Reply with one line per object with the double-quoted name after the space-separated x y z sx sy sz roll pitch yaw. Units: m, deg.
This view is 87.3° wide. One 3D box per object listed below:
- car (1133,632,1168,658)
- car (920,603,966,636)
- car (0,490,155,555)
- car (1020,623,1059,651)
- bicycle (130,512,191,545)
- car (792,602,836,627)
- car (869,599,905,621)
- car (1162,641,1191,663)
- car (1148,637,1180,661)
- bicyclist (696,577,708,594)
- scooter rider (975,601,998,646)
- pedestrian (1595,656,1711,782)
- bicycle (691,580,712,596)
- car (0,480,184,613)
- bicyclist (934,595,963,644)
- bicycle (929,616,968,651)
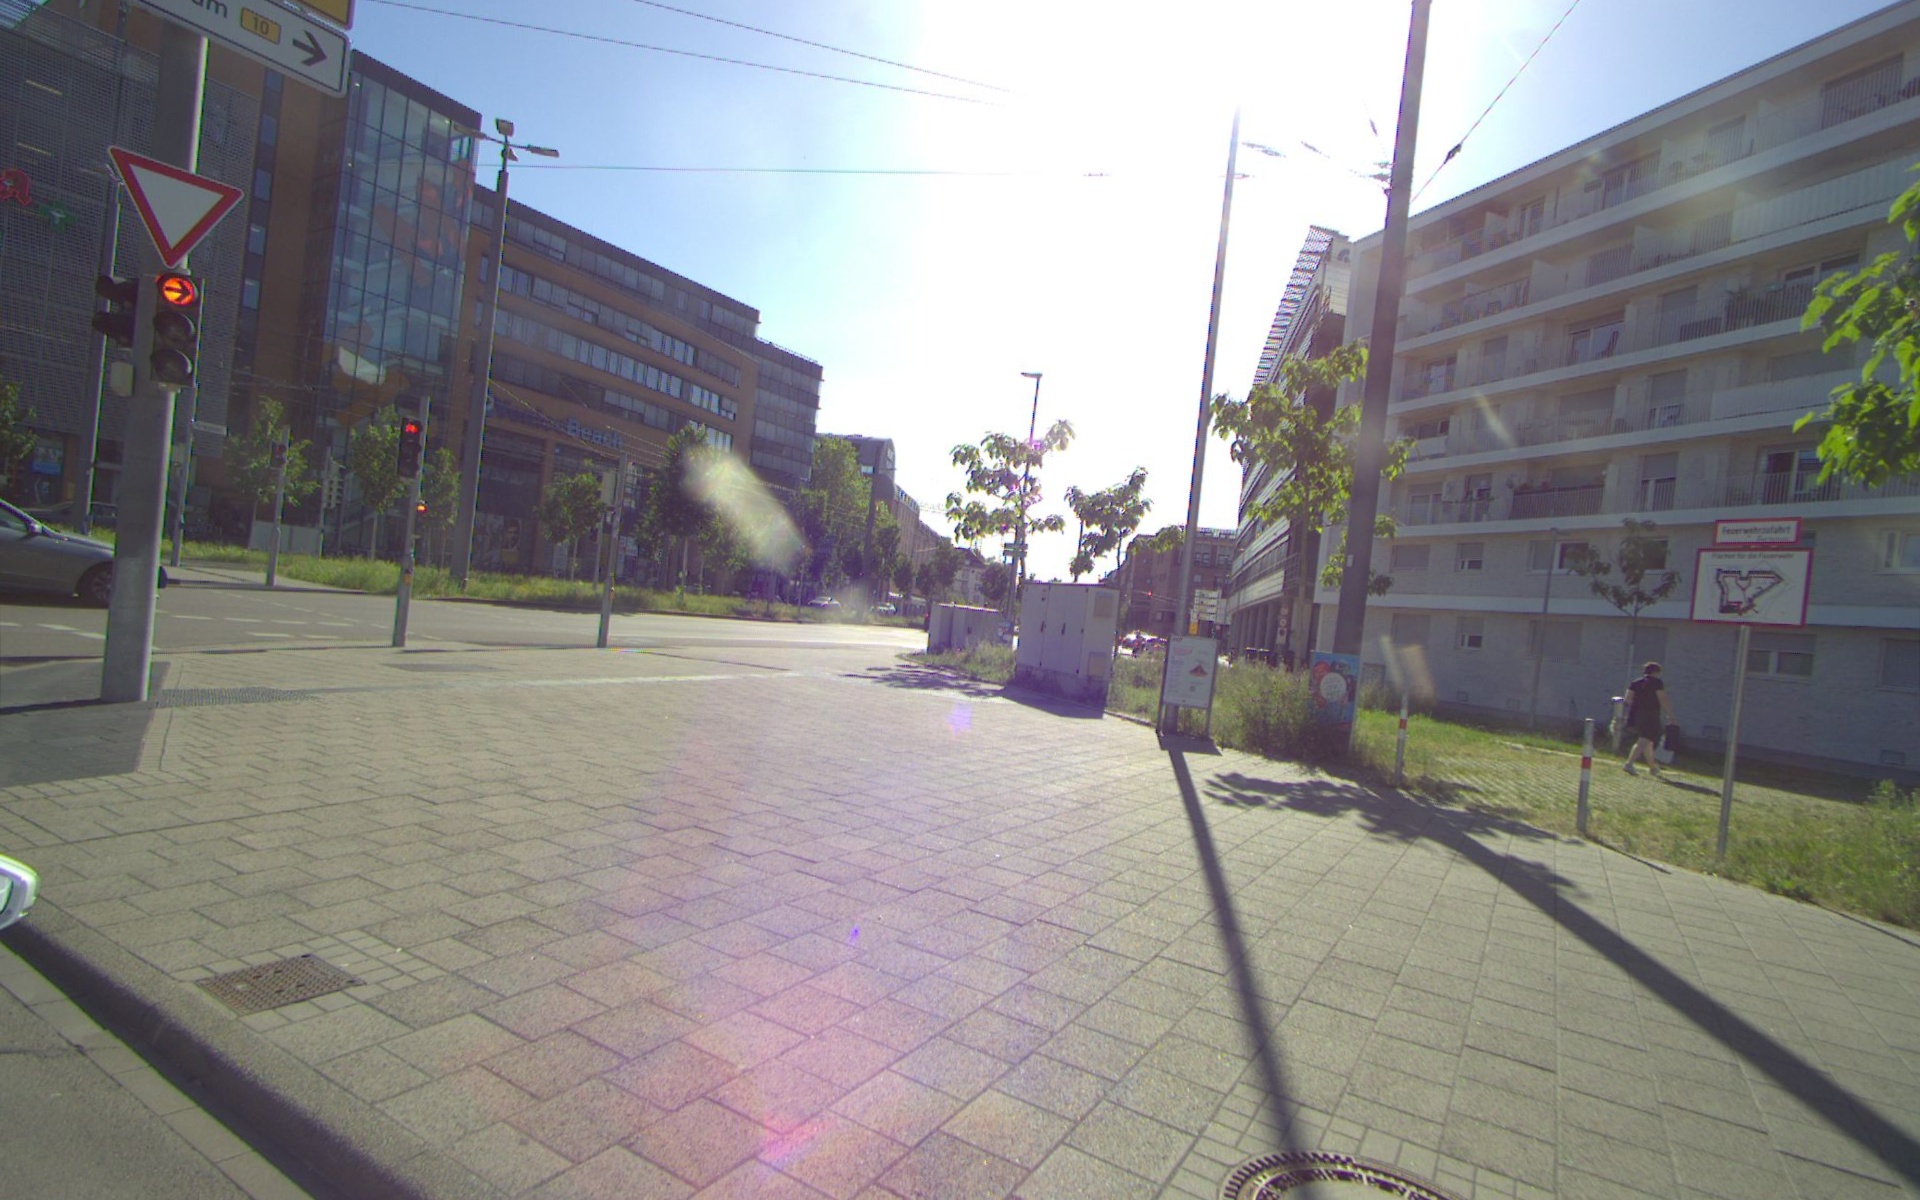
13.478 3.223 71.048 1.677 1.515 4.281 7 -2 19 "car"
-0.979 1.215 60.028 1.615 1.665 3.704 7 -1 15 "car"
-32.067 -2.769 36.326 1.810 1.484 4.161 6 -5 30 "car"
5.746 2.702 72.620 1.616 1.665 4.200 7 -1 20 "car"
-40.517 -3.609 51.032 0.595 1.310 2.260 7 -2 30 "bicycle"
-13.353 1.310 92.117 1.807 1.600 4.310 7 -5 23 "car"
-7.888 1.084 109.226 1.808 1.885 4.338 6 -1 26 "car"
17.916 4.327 83.265 1.677 1.515 4.281 7 -2 19 "car"
15.713 3.810 77.368 1.677 1.515 4.281 7 -2 19 "car"
-23.032 -1.267 89.859 0.556 1.404 0.754 9 2 31 "bicyclist"
1.165 1.058 44.523 0.563 1.894 0.787 7 -1 22 "scooter rider"
10.402 1.773 15.123 0.970 1.719 0.842 6 2 -16 "pedestrian"
-23.056 -1.040 89.858 0.559 1.232 1.859 9 1 31 "bicycle"
-13.235 -0.862 12.901 1.676 1.591 4.869 7 -1 25 "car"
-0.432 0.751 37.874 0.563 1.727 0.885 7 -1 25 "bicyclist"
-0.432 1.260 37.960 0.571 1.150 1.907 7 -2 25 "bicycle"
